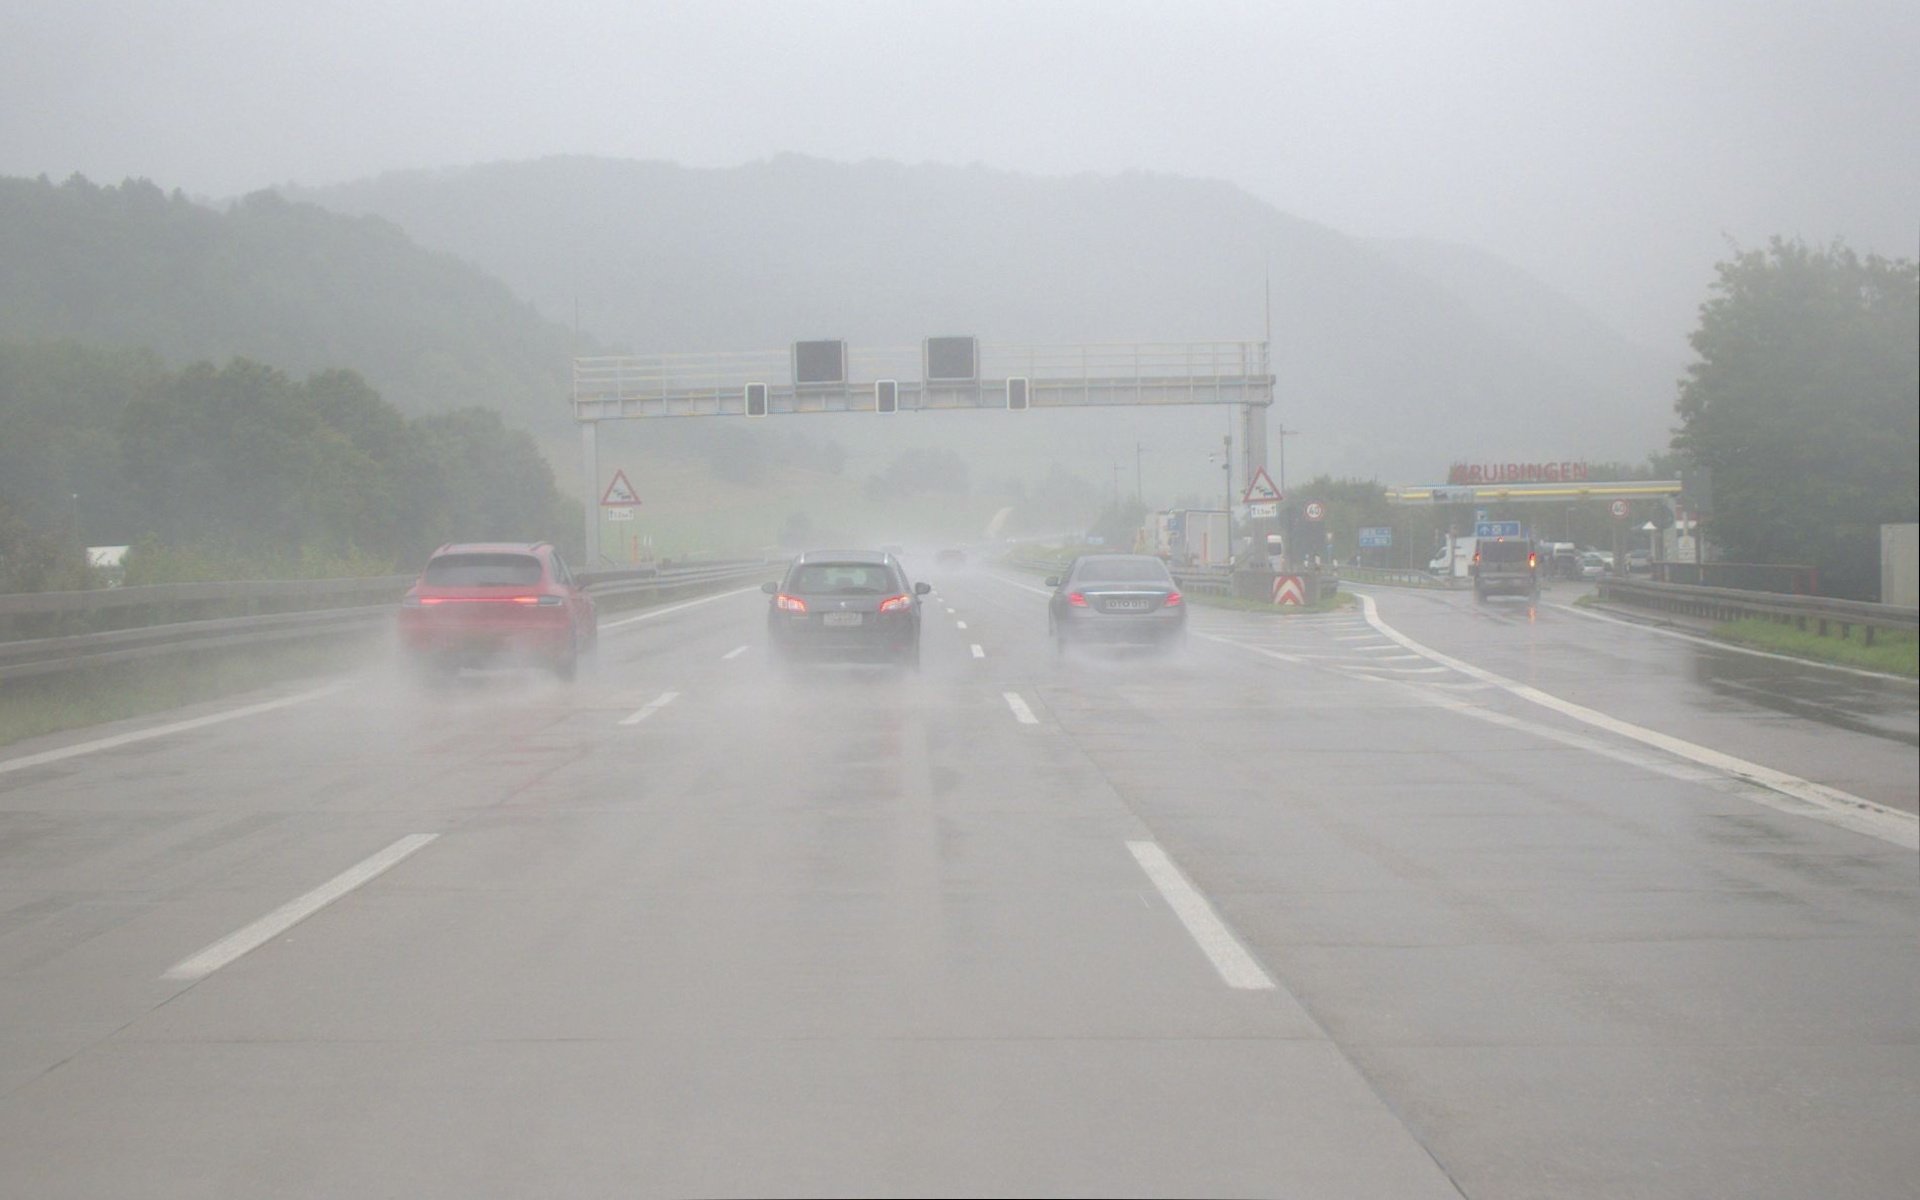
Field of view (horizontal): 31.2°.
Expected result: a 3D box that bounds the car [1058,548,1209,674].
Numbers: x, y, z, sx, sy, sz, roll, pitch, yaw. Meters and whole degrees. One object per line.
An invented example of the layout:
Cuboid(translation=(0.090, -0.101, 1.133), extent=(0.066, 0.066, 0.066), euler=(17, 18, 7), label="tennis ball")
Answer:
Cuboid(translation=(2.500, 0.124, 50.373), extent=(1.971, 1.754, 4.000), euler=(0, 1, 0), label="car")

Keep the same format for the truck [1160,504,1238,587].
Cuboid(translation=(13.111, -3.008, 189.715), extent=(3.401, 4.387, 11.049), euler=(1, 1, 0), label="truck")

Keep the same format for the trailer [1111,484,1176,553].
Cuboid(translation=(11.676, -5.133, 219.768), extent=(3.516, 4.247, 11.920), euler=(0, 1, 0), label="trailer")

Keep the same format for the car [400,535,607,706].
Cuboid(translation=(-5.114, 0.180, 38.960), extent=(1.884, 1.809, 4.000), euler=(-1, 1, -1), label="car")

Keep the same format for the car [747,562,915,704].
Cuboid(translation=(-1.487, 0.351, 40.845), extent=(1.859, 1.584, 4.000), euler=(0, 1, 0), label="car")

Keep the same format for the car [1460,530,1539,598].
Cuboid(translation=(16.512, -1.122, 105.355), extent=(1.994, 2.007, 5.054), euler=(0, 1, 4), label="car")
